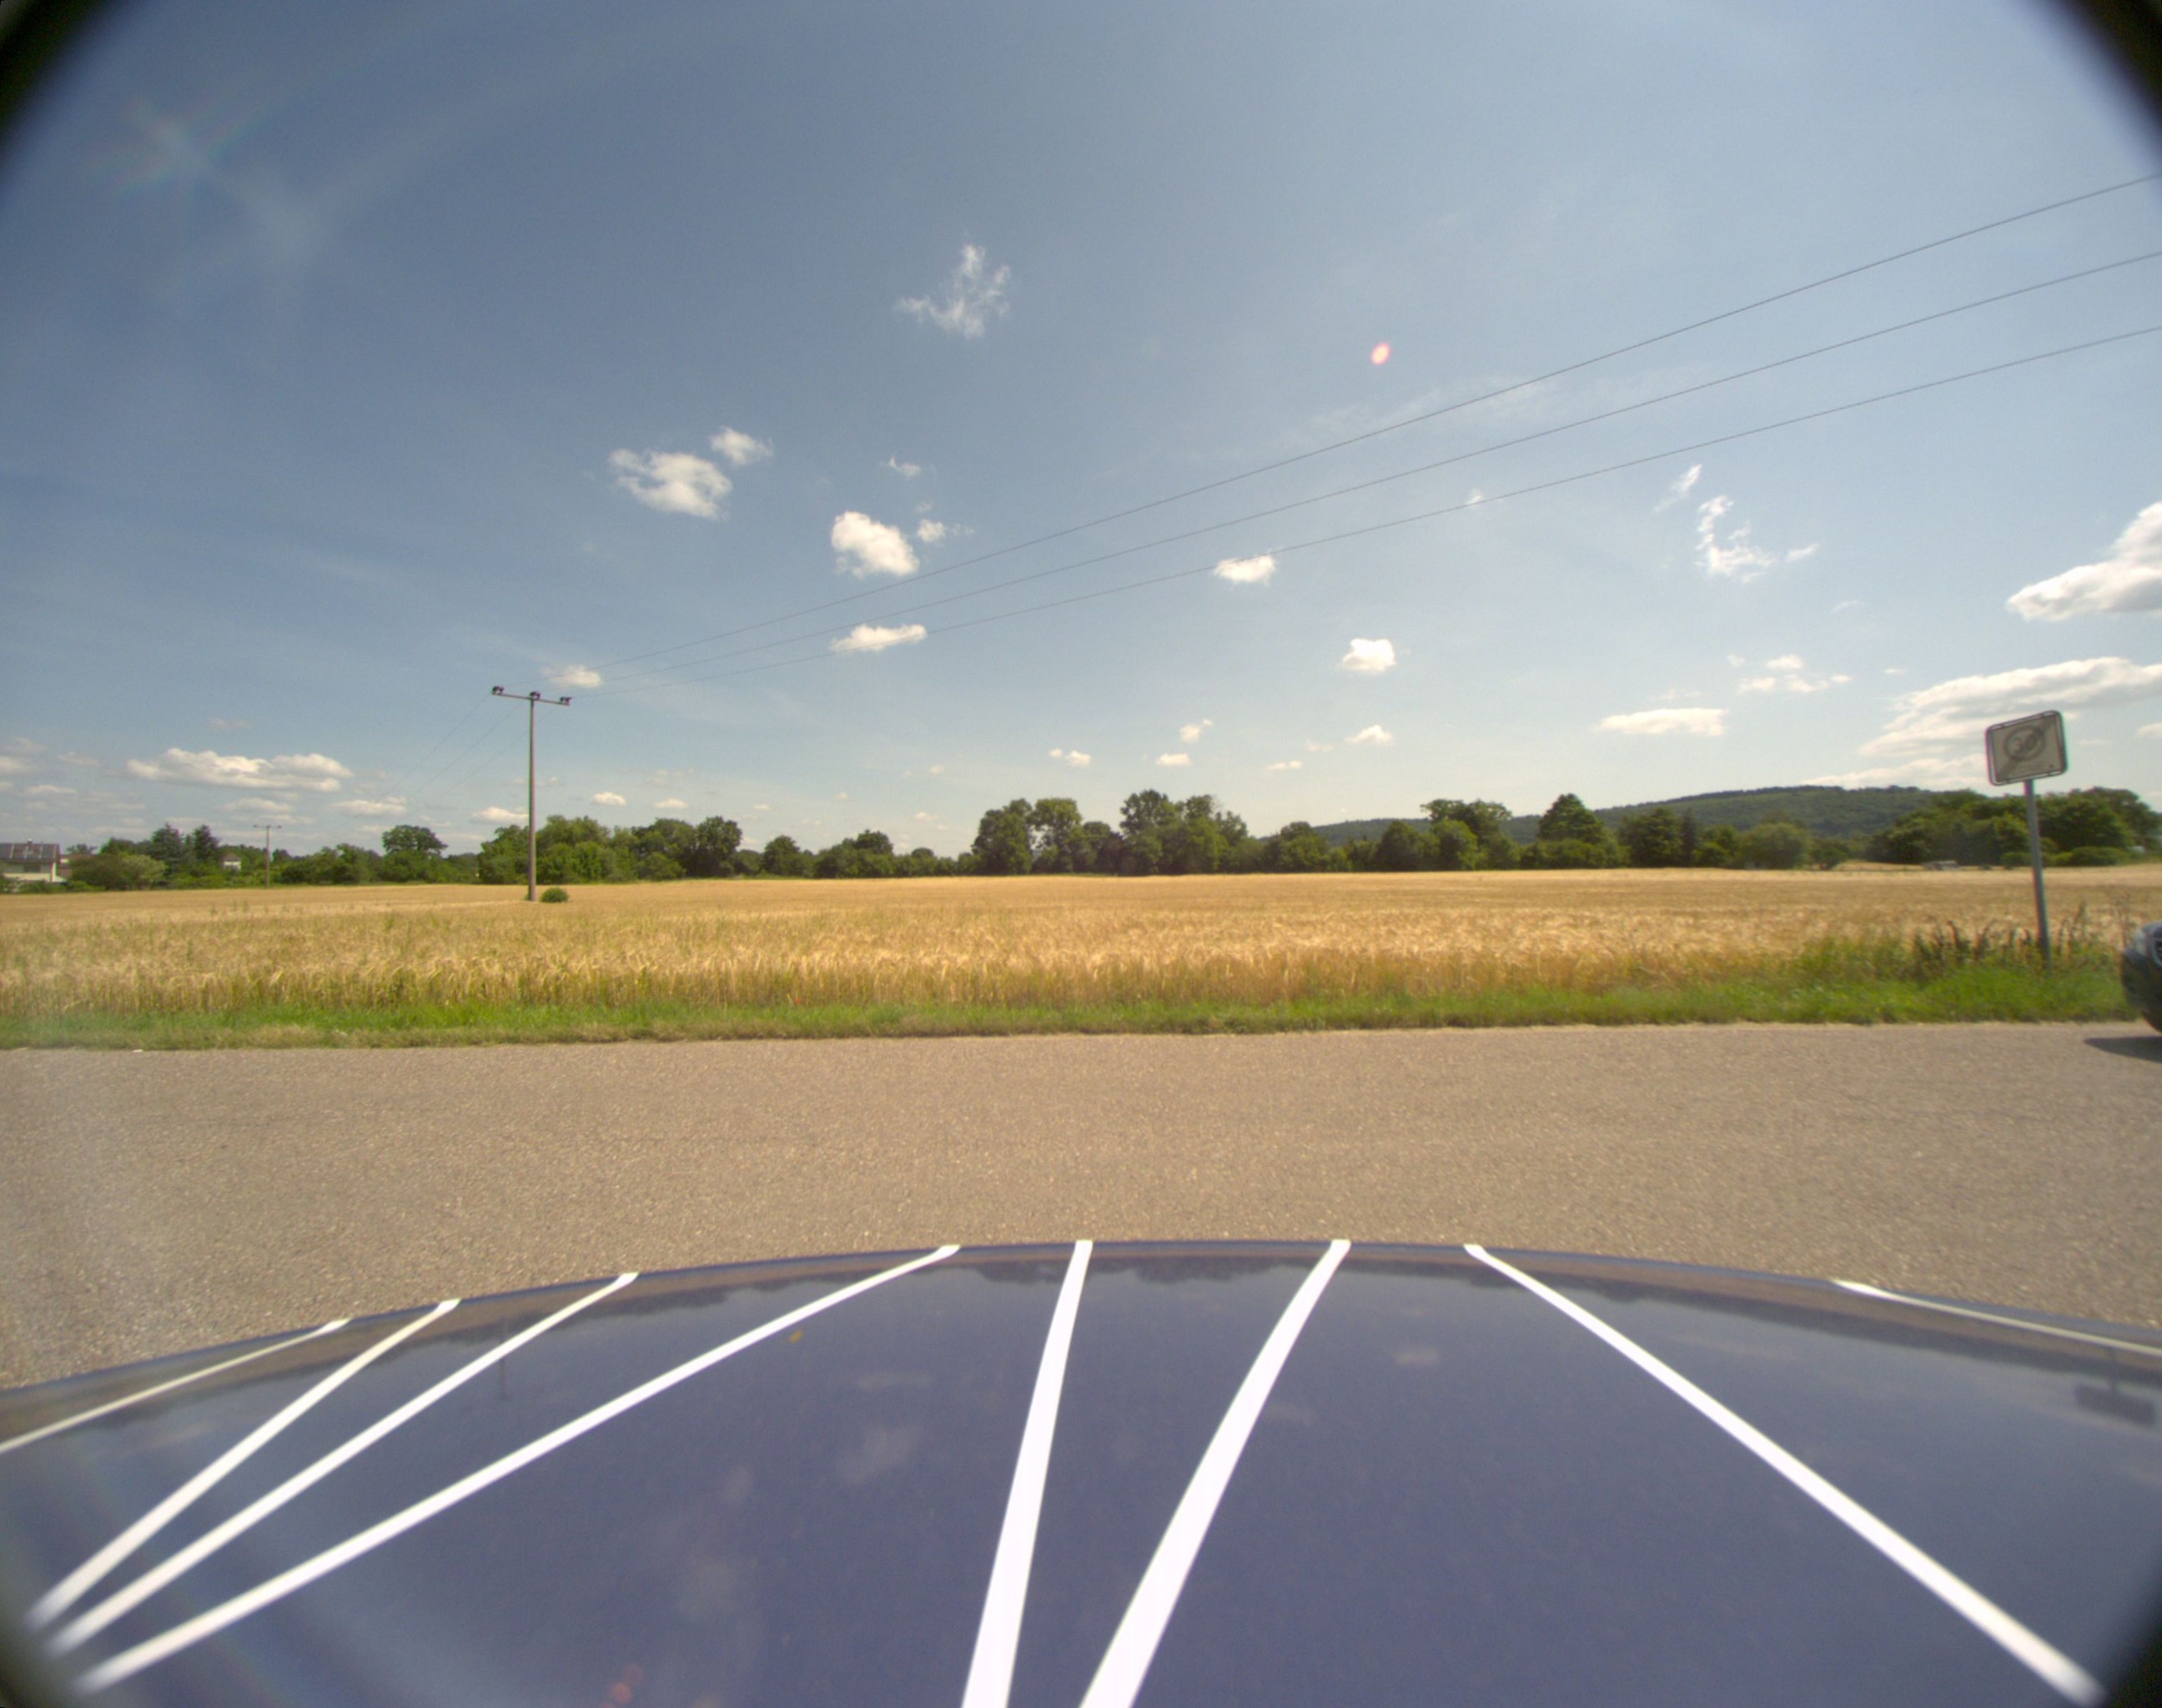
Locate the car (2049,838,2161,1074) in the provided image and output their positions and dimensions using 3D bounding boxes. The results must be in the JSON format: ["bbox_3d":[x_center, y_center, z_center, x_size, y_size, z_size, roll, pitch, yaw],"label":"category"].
[{"bbox_3d":[9.773,0.705,5.139,4.252,1.669,1.749,-1,0,0],"label":"car"}]
